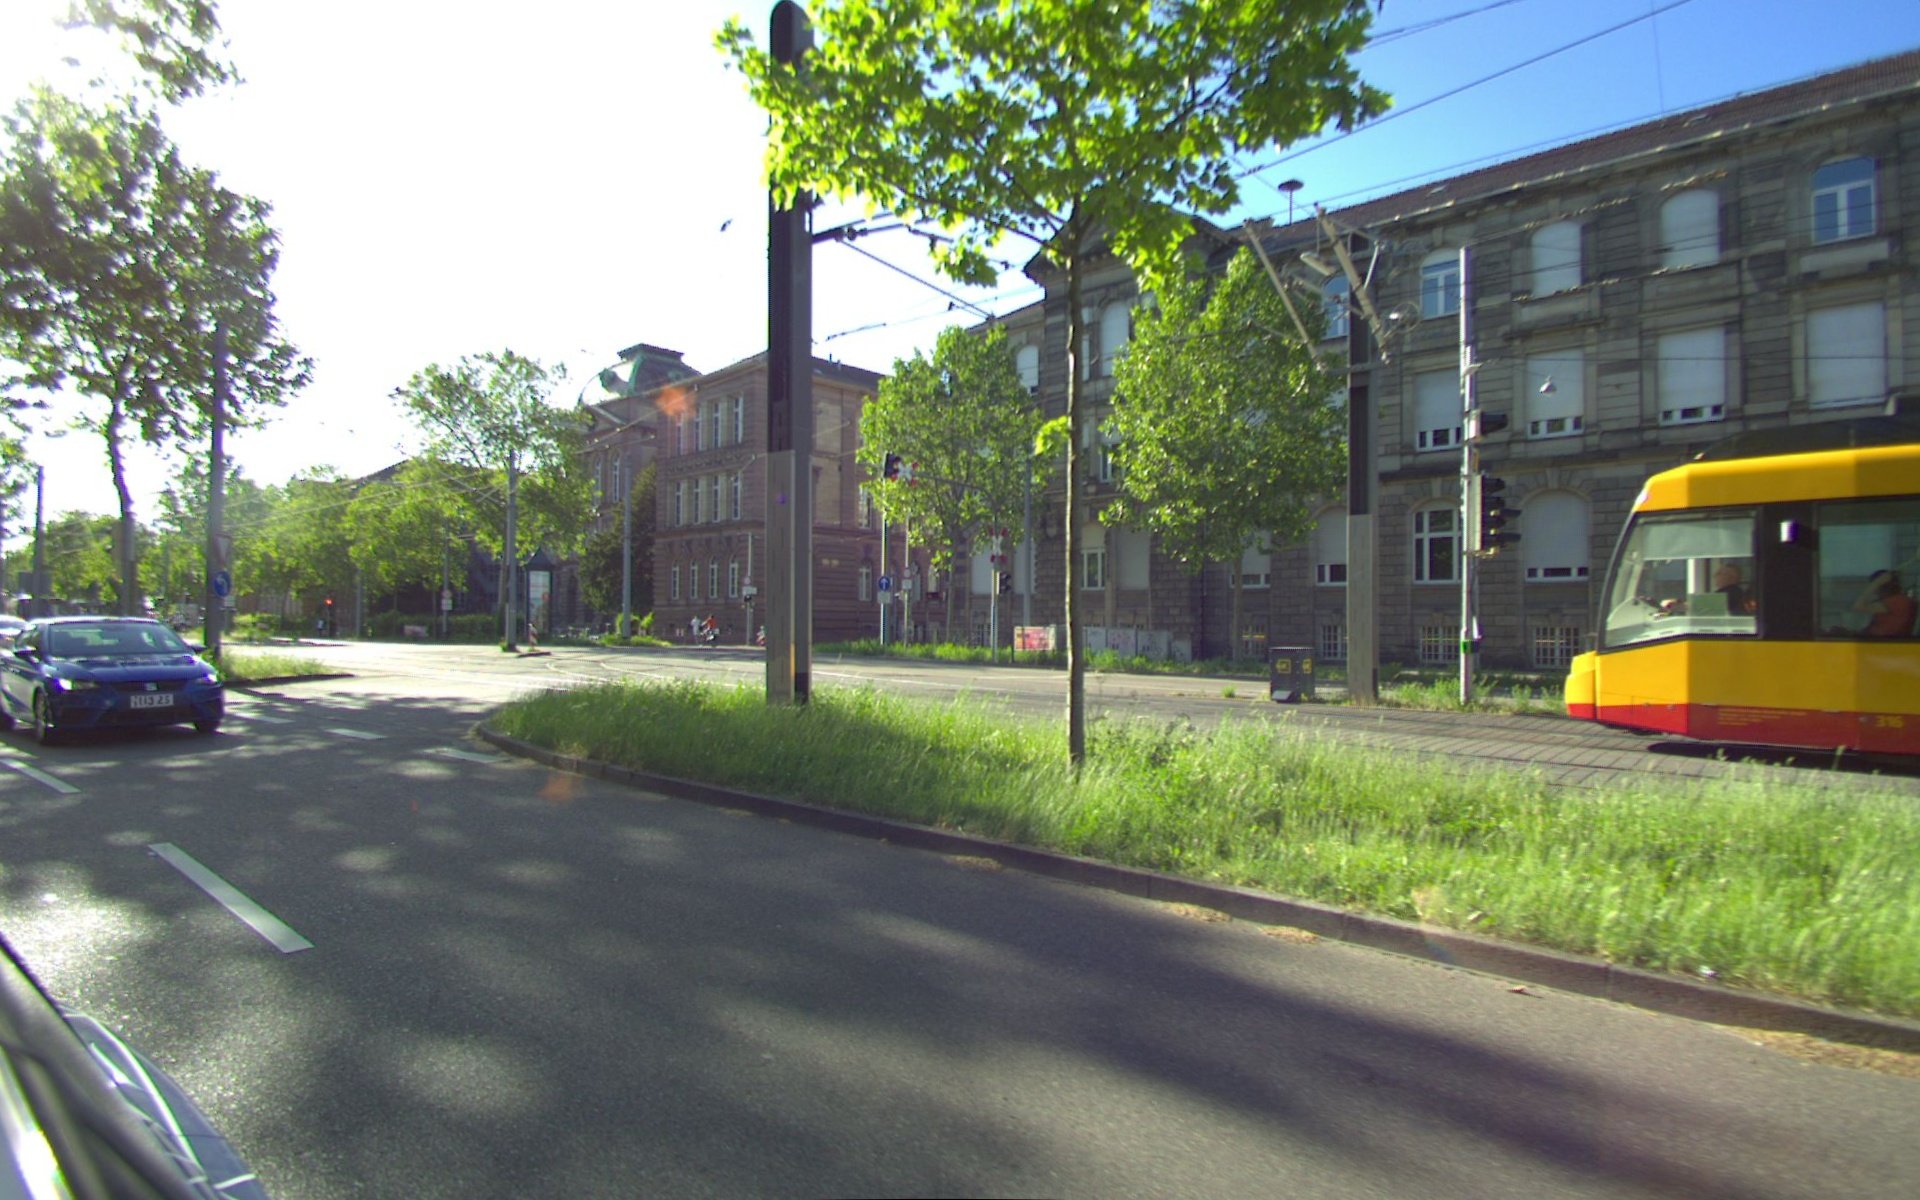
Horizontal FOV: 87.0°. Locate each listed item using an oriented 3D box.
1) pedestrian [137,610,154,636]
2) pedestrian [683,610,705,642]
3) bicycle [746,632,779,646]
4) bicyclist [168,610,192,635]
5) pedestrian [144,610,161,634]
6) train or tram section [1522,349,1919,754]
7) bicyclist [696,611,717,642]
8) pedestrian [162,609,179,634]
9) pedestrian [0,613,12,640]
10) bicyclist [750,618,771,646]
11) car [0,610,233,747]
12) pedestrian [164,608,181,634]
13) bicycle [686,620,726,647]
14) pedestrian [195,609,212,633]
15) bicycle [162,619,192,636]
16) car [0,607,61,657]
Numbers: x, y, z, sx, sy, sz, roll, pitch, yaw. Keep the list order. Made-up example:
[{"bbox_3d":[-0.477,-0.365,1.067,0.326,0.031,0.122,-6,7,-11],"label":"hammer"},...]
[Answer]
[{"bbox_3d":[-56.916,1.599,70.754,0.692,1.758,0.592,-1,0,10],"label":"pedestrian"},{"bbox_3d":[-15.678,1.519,59.708,1.003,1.814,0.853,-1,0,44],"label":"pedestrian"},{"bbox_3d":[-10.488,2.062,53.799,1.895,0.727,0.520,-1,0,33],"label":"bicycle"},{"bbox_3d":[-52.215,1.482,67.750,0.826,1.656,0.966,-1,0,10],"label":"bicyclist"},{"bbox_3d":[-55.798,1.526,69.935,0.692,1.689,0.592,0,-1,10],"label":"pedestrian"},{"bbox_3d":[14.979,-0.541,4.961,21.204,3.510,2.933,-1,0,41],"label":"train or tram section"},{"bbox_3d":[-13.510,1.428,53.956,0.868,1.636,0.669,-1,-1,30],"label":"bicyclist"},{"bbox_3d":[-54.005,1.484,69.260,0.691,1.656,0.593,-1,0,7],"label":"pedestrian"},{"bbox_3d":[-60.118,1.634,63.784,0.537,1.674,0.730,-1,0,-43],"label":"pedestrian"},{"bbox_3d":[-10.632,1.696,53.918,0.728,1.473,0.789,-1,0,32],"label":"bicyclist"},{"bbox_3d":[-10.799,0.879,12.715,3.864,1.459,1.756,-1,-1,39],"label":"car"},{"bbox_3d":[-54.735,1.467,70.325,0.692,1.749,0.592,-1,0,10],"label":"pedestrian"},{"bbox_3d":[-13.571,1.771,53.947,2.341,1.399,0.521,-1,0,30],"label":"bicycle"},{"bbox_3d":[-52.177,1.446,69.823,0.692,1.633,0.592,-1,0,10],"label":"pedestrian"},{"bbox_3d":[-52.505,1.831,67.880,0.538,1.049,1.658,0,0,11],"label":"bicycle"},{"bbox_3d":[-33.306,1.094,34.891,3.828,1.607,1.659,-1,0,16],"label":"car"}]
